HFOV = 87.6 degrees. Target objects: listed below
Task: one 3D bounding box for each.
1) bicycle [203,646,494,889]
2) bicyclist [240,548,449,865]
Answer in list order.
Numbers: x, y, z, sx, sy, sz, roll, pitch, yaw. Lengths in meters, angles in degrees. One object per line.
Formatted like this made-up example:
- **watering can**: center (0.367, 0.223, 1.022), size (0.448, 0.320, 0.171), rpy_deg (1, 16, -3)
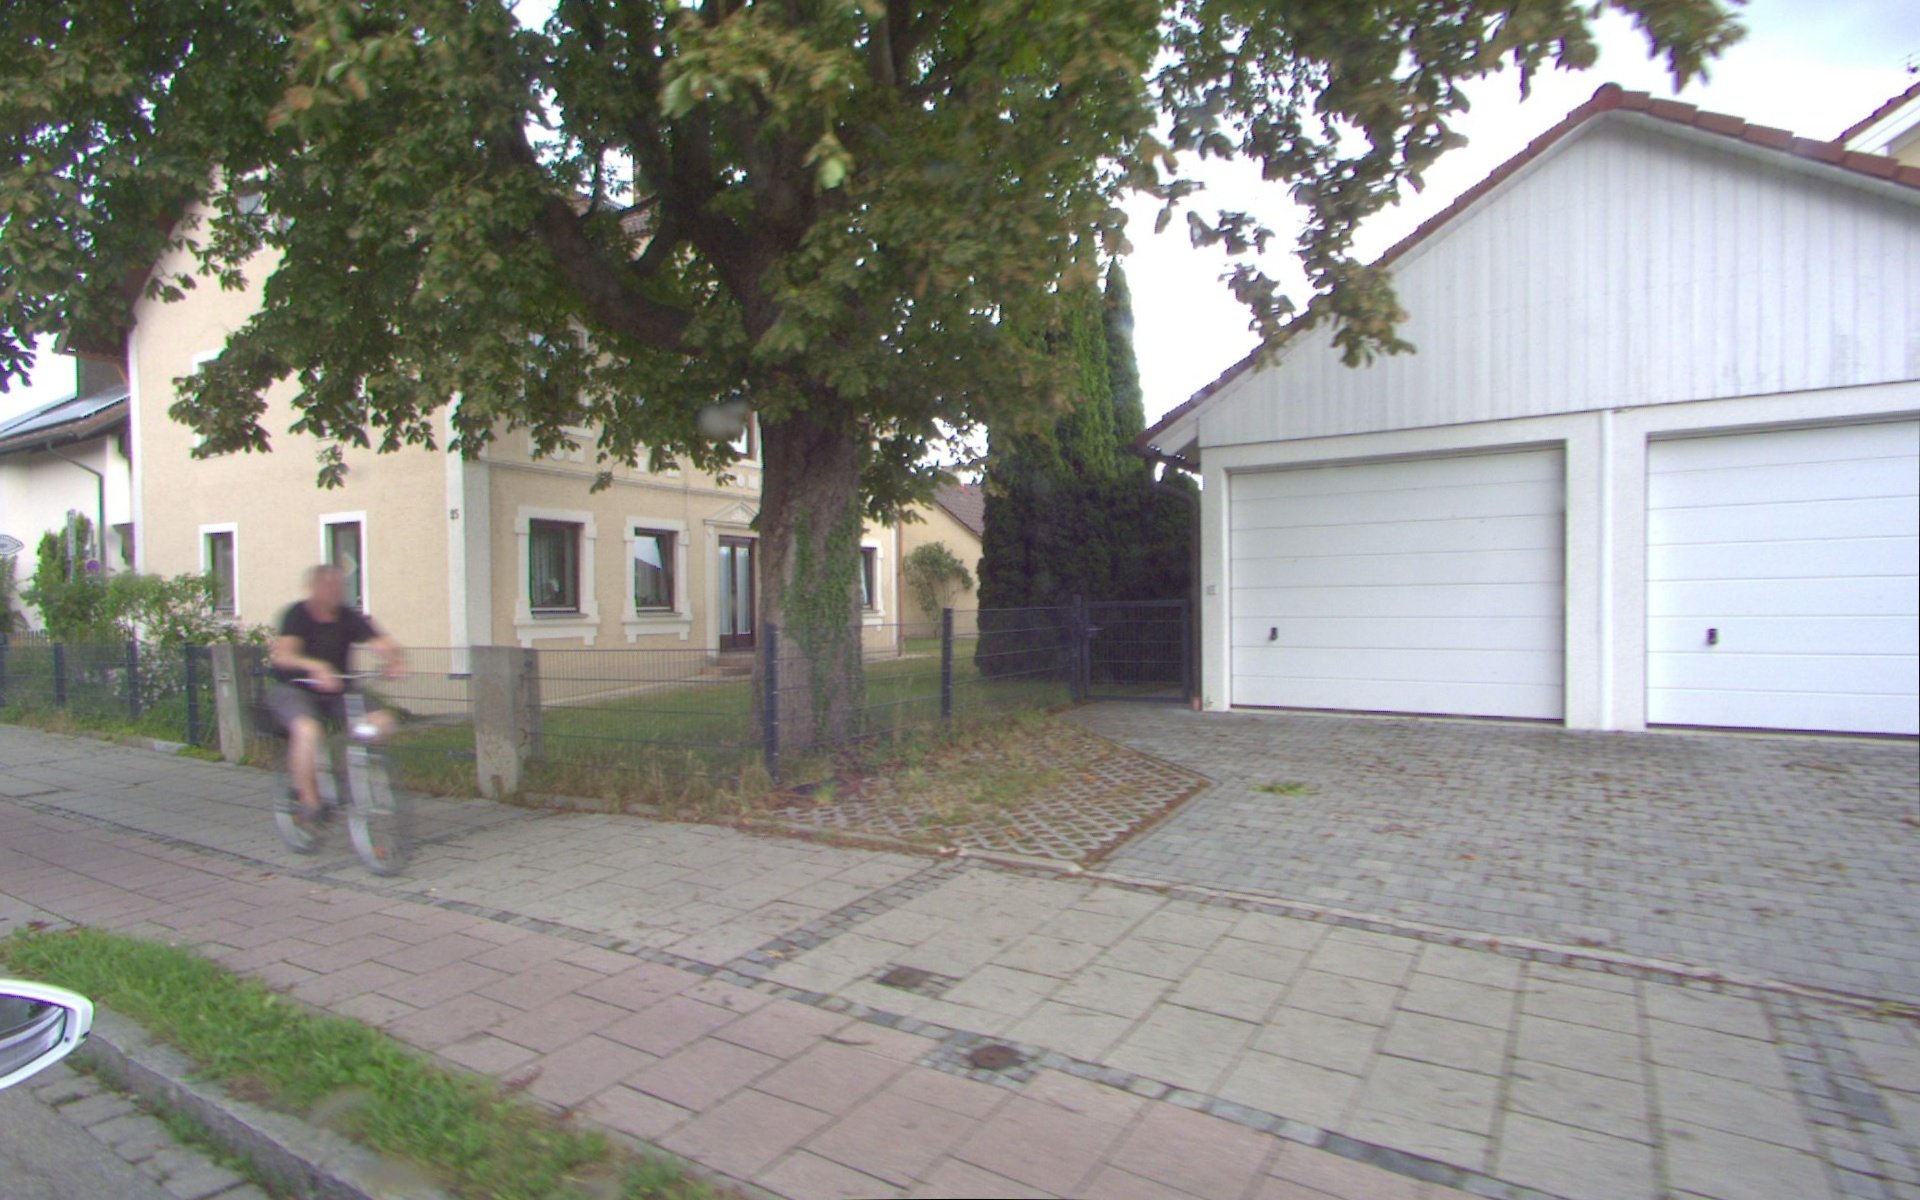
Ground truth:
- **bicycle**: center (-3.569, 0.871, 5.799), size (1.820, 1.158, 0.762), rpy_deg (-1, 0, 34)
- **bicyclist**: center (-3.550, 0.567, 5.787), size (0.878, 1.654, 0.734), rpy_deg (0, 0, 34)
